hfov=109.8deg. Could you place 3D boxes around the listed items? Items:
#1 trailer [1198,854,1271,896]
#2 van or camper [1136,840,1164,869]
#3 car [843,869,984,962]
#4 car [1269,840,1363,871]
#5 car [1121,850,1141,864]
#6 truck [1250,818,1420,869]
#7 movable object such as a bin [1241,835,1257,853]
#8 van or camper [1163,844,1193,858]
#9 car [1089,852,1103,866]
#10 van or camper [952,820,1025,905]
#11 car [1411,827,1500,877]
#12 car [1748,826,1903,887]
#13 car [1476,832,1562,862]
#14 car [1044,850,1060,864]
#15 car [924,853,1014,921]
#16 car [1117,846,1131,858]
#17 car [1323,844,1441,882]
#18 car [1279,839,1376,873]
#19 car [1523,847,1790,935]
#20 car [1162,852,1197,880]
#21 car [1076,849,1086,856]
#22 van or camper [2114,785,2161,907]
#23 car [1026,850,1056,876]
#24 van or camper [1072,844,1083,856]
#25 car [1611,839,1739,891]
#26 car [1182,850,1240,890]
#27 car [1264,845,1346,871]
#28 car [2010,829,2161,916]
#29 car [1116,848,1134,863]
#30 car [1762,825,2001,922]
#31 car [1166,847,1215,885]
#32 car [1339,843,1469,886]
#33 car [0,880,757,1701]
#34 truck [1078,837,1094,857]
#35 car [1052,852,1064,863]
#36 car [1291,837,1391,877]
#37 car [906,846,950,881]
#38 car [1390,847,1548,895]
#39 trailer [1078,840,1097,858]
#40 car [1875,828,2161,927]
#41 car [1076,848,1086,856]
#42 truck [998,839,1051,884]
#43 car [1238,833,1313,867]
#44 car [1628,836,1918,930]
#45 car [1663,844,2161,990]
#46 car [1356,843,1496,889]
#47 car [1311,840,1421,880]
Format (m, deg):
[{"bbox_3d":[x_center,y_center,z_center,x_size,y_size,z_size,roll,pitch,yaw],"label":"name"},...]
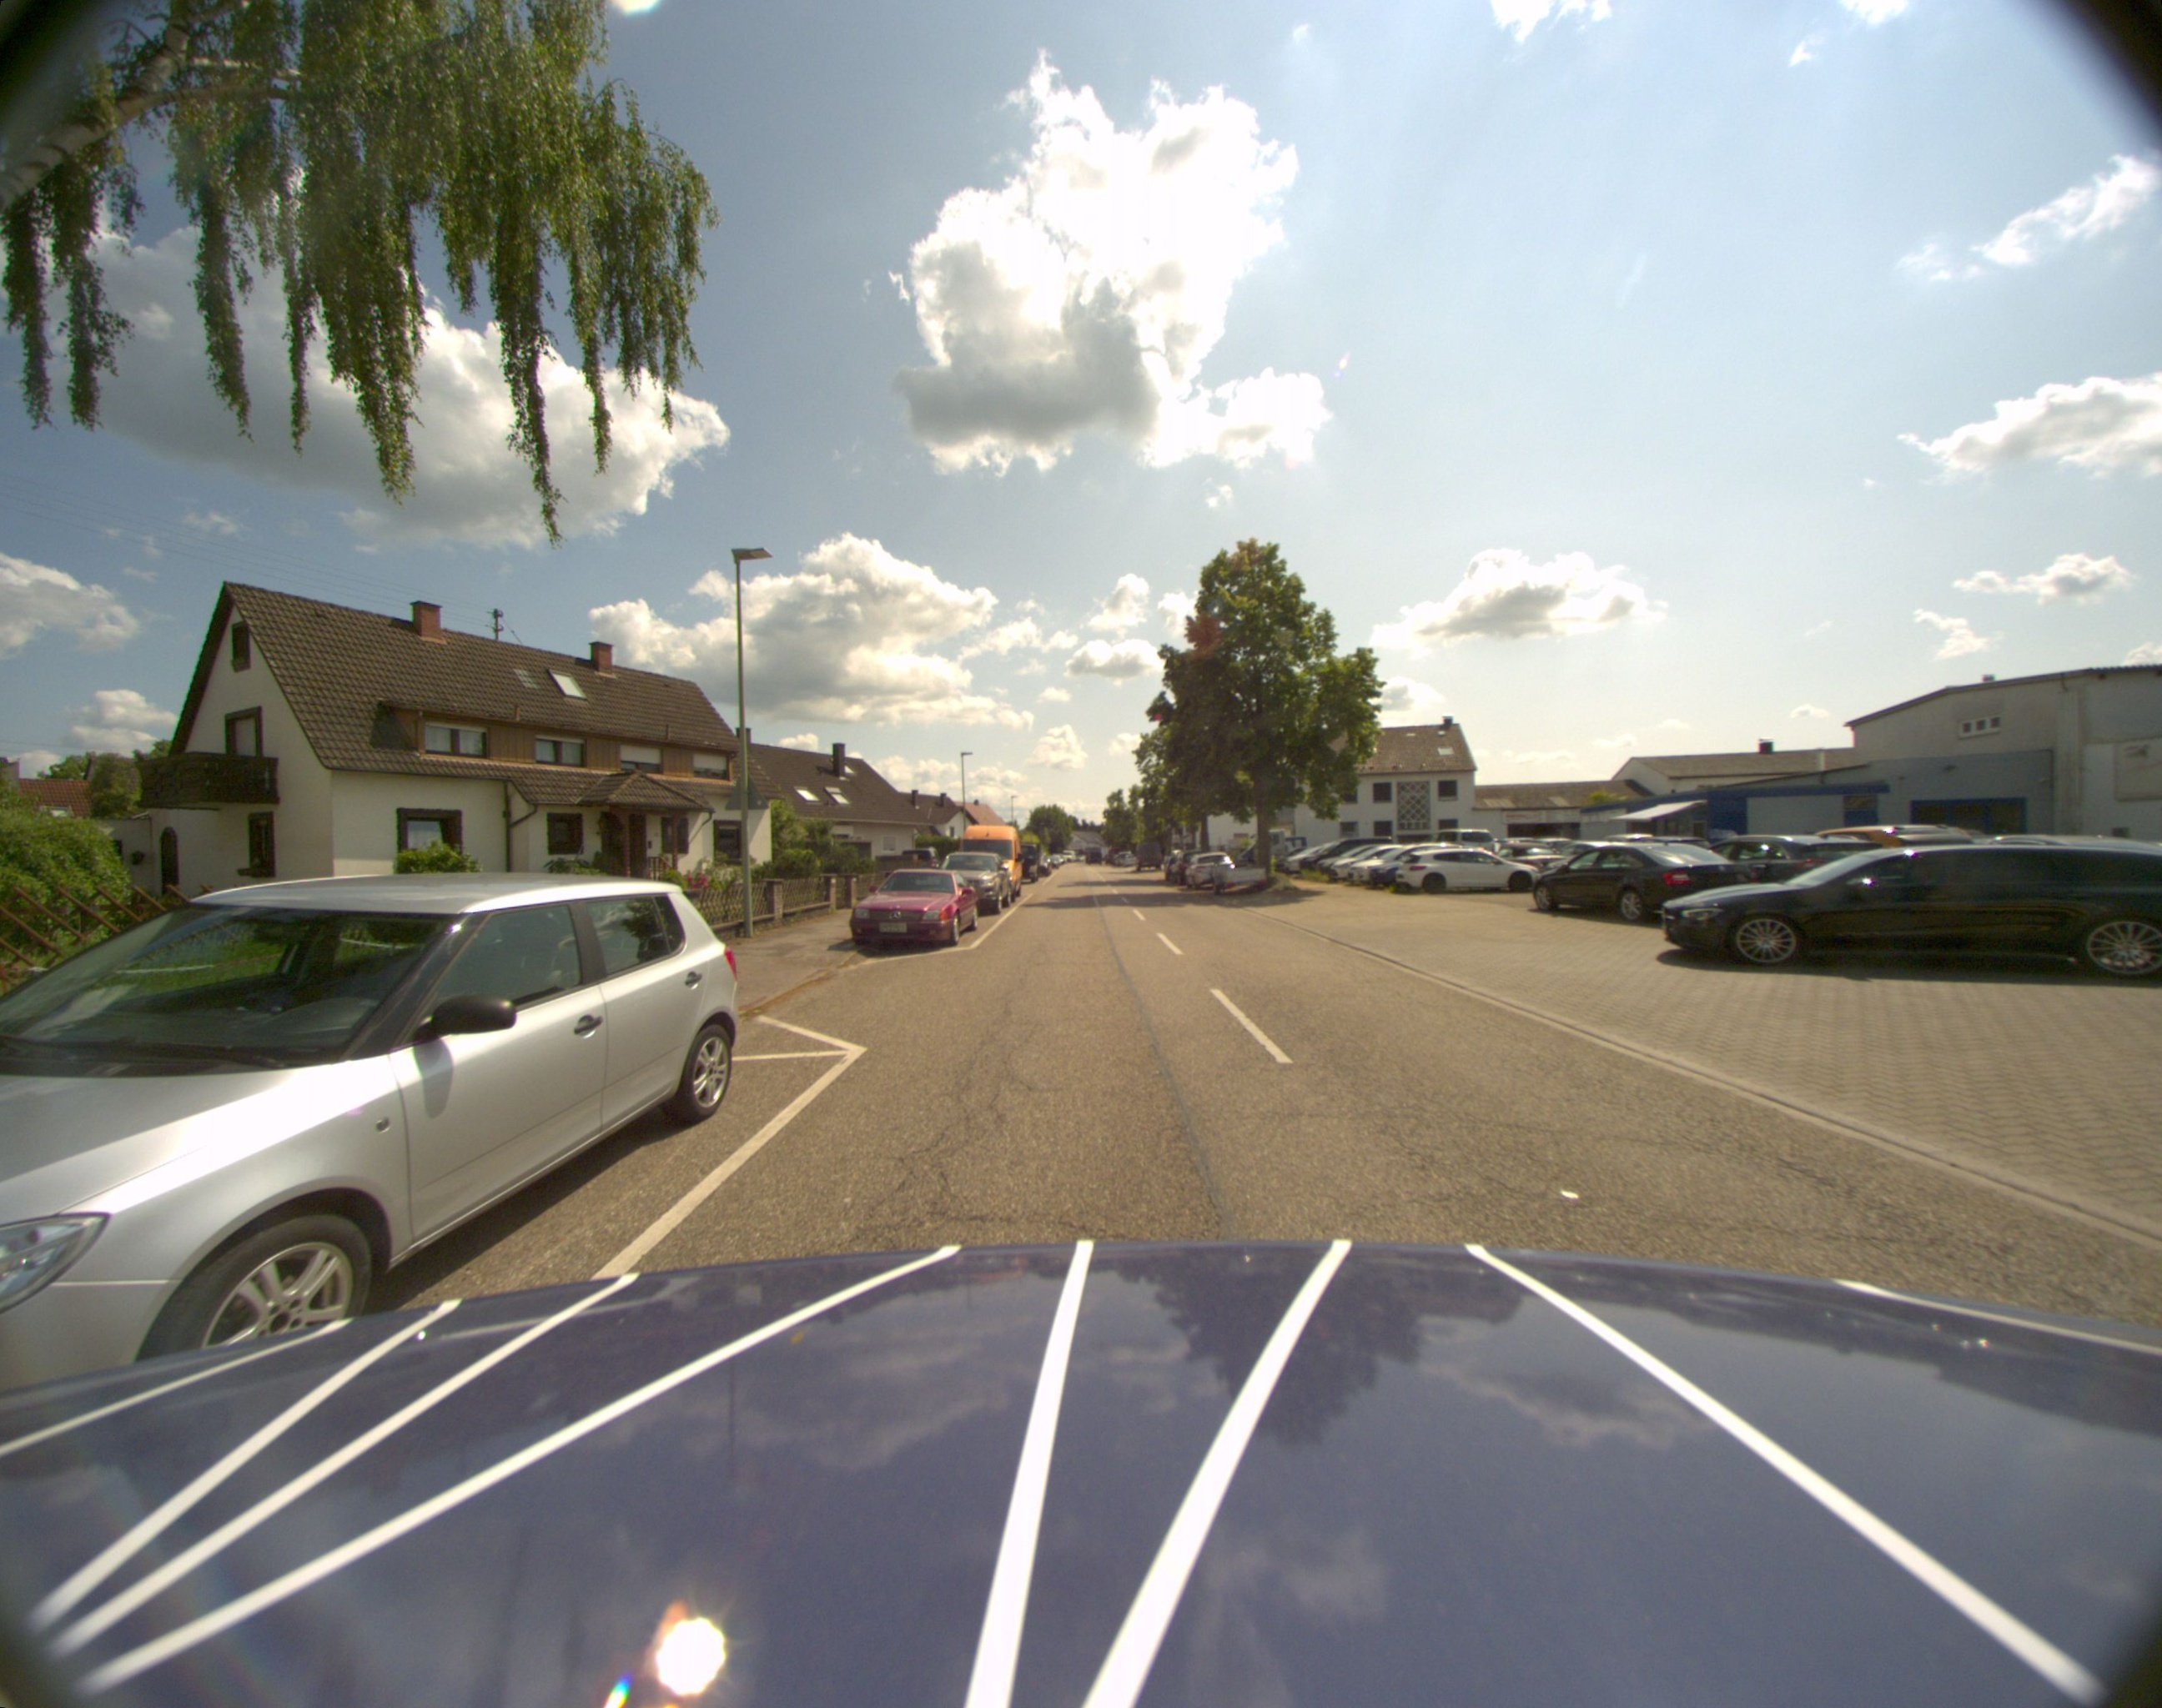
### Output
[{"bbox_3d":[5.623,0.714,28.363,1.766,1.282,4.507,-5,1,0],"label":"trailer"},{"bbox_3d":[5.952,-0.009,66.368,1.998,2.303,5.934,-4,1,2],"label":"van or camper"},{"bbox_3d":[-2.977,1.032,14.442,1.673,1.327,4.437,-2,1,0],"label":"car"},{"bbox_3d":[12.642,0.082,40.997,4.536,1.573,1.827,0,0,2],"label":"car"},{"bbox_3d":[5.835,0.341,89.983,1.753,1.453,4.708,-5,0,-3],"label":"car"},{"bbox_3d":[15.055,-0.609,45.550,9.278,2.839,2.721,-1,1,4],"label":"truck"},{"bbox_3d":[15.536,-0.891,70.164,1.311,1.422,1.606,-1,-5,16],"label":"movable object such as a bin"},{"bbox_3d":[11.500,-0.384,90.315,1.776,1.534,4.007,-2,1,35],"label":"van or camper"},{"bbox_3d":[2.264,0.768,114.796,2.056,2.022,5.140,0,1,0],"label":"car"},{"bbox_3d":[-3.121,0.241,26.872,1.999,2.649,5.768,-1,1,-2],"label":"van or camper"},{"bbox_3d":[16.104,-0.108,32.881,1.715,2.002,3.998,-1,1,-3],"label":"car"},{"bbox_3d":[25.141,0.066,25.881,1.714,1.884,4.002,-1,1,8],"label":"car"},{"bbox_3d":[28.613,-0.483,49.740,4.487,1.782,2.001,-1,2,13],"label":"car"},{"bbox_3d":[-3.331,0.299,87.723,1.748,1.542,4.120,0,0,-2],"label":"car"},{"bbox_3d":[-2.979,0.815,21.084,1.837,1.630,4.239,-1,1,0],"label":"car"},{"bbox_3d":[5.714,-0.299,101.565,1.626,1.461,3.925,-4,1,1],"label":"car"},{"bbox_3d":[12.302,0.359,31.246,4.154,1.422,1.827,-1,2,3],"label":"car"},{"bbox_3d":[12.500,0.082,38.693,4.306,1.605,1.827,-1,0,-1],"label":"car"},{"bbox_3d":[10.882,0.598,14.891,1.758,1.402,4.584,-2,0,0],"label":"car"},{"bbox_3d":[5.595,0.641,43.382,1.703,1.475,4.159,-2,0,4],"label":"car"},{"bbox_3d":[0.058,-0.246,166.513,1.818,1.514,4.266,0,0,5],"label":"car"},{"bbox_3d":[22.551,-0.196,13.319,1.997,2.461,5.364,-1,0,8],"label":"van or camper"},{"bbox_3d":[-2.853,0.609,54.532,1.834,1.652,4.553,-2,1,0],"label":"car"},{"bbox_3d":[-0.653,-0.884,153.159,1.972,2.345,5.760,0,0,3],"label":"van or camper"},{"bbox_3d":[20.476,0.332,26.413,1.714,1.628,4.002,-1,1,8],"label":"car"},{"bbox_3d":[5.585,0.635,33.085,1.837,1.519,4.237,-3,0,2],"label":"car"},{"bbox_3d":[12.701,0.214,43.244,4.207,1.450,1.678,0,0,2],"label":"car"},{"bbox_3d":[19.810,0.315,13.504,1.757,1.525,4.166,0,1,6],"label":"car"},{"bbox_3d":[5.572,0.165,95.855,1.814,1.795,4.490,-5,1,-1],"label":"car"},{"bbox_3d":[15.265,0.323,14.755,1.445,1.646,3.302,-1,1,8],"label":"car"},{"bbox_3d":[5.429,0.567,38.302,1.697,1.690,4.399,-4,1,-1],"label":"car"},{"bbox_3d":[12.181,0.369,28.831,4.154,1.481,1.827,-1,2,3],"label":"car"},{"bbox_3d":[-3.078,1.020,3.117,1.614,1.571,4.000,-3,1,2],"label":"car"},{"bbox_3d":[0.930,-1.302,141.939,2.780,3.479,5.880,-1,1,-1],"label":"truck"},{"bbox_3d":[-3.600,0.550,120.630,1.896,1.763,4.708,-1,0,-1],"label":"car"},{"bbox_3d":[12.246,0.106,35.992,4.154,1.778,1.827,-1,2,3],"label":"car"},{"bbox_3d":[-8.634,0.491,43.346,1.862,1.855,5.018,-1,1,-5],"label":"car"},{"bbox_3d":[12.109,0.507,23.945,4.035,1.366,1.827,-1,2,5],"label":"car"},{"bbox_3d":[1.164,-0.883,135.886,2.842,3.051,8.886,-1,1,-2],"label":"trailer"},{"bbox_3d":[17.362,0.346,13.749,1.758,1.525,4.165,0,1,4],"label":"car"},{"bbox_3d":[-0.034,-0.415,159.935,1.683,1.514,4.064,0,0,7],"label":"car"},{"bbox_3d":[-3.185,0.396,44.209,2.528,2.286,5.894,-3,1,0],"label":"truck"},{"bbox_3d":[13.624,-0.269,53.505,5.008,2.219,2.001,-1,2,13],"label":"car"},{"bbox_3d":[13.067,0.474,14.787,1.758,1.525,4.257,-2,0,0],"label":"car"},{"bbox_3d":[9.979,0.679,9.146,4.581,1.386,2.004,-3,0,34],"label":"car"},{"bbox_3d":[11.923,0.395,26.457,4.036,1.481,1.827,-1,2,3],"label":"car"},{"bbox_3d":[12.444,0.234,33.398,4.154,1.609,1.827,-1,2,3],"label":"car"}]
